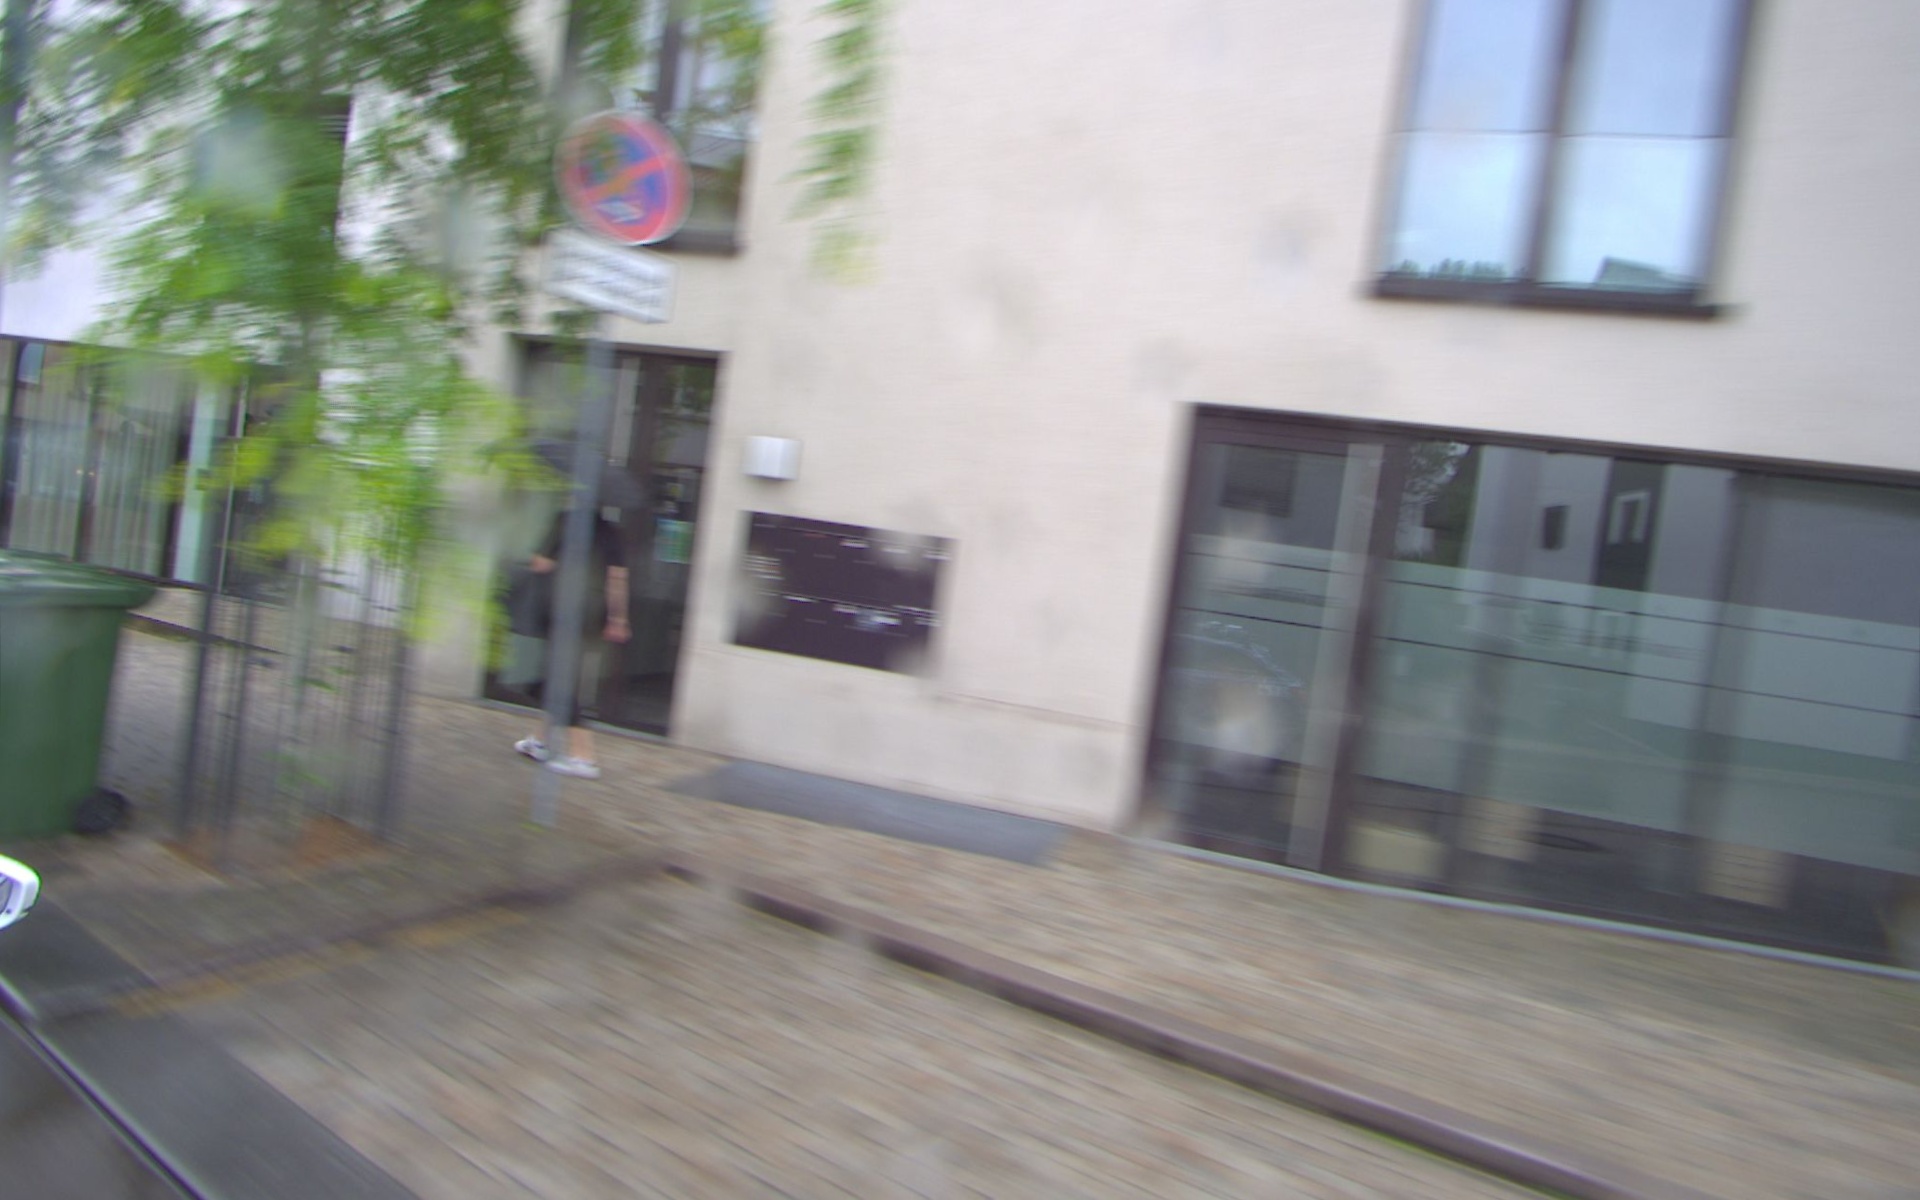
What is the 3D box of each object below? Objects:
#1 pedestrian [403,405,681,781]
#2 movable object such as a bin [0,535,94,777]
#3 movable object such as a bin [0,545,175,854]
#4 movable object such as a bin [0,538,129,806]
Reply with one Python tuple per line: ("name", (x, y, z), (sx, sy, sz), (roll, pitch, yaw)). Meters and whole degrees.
("pedestrian", (-2.494, -0.052, 6.050), (1.064, 2.038, 0.869), (7, 0, 29))
("movable object such as a bin", (-5.016, 0.260, 5.112), (0.621, 1.186, 0.751), (7, 1, 37))
("movable object such as a bin", (-3.879, 0.386, 4.195), (0.621, 1.186, 0.751), (7, 1, 37))
("movable object such as a bin", (-4.503, 0.313, 4.713), (0.621, 1.186, 0.751), (7, 1, 37))
